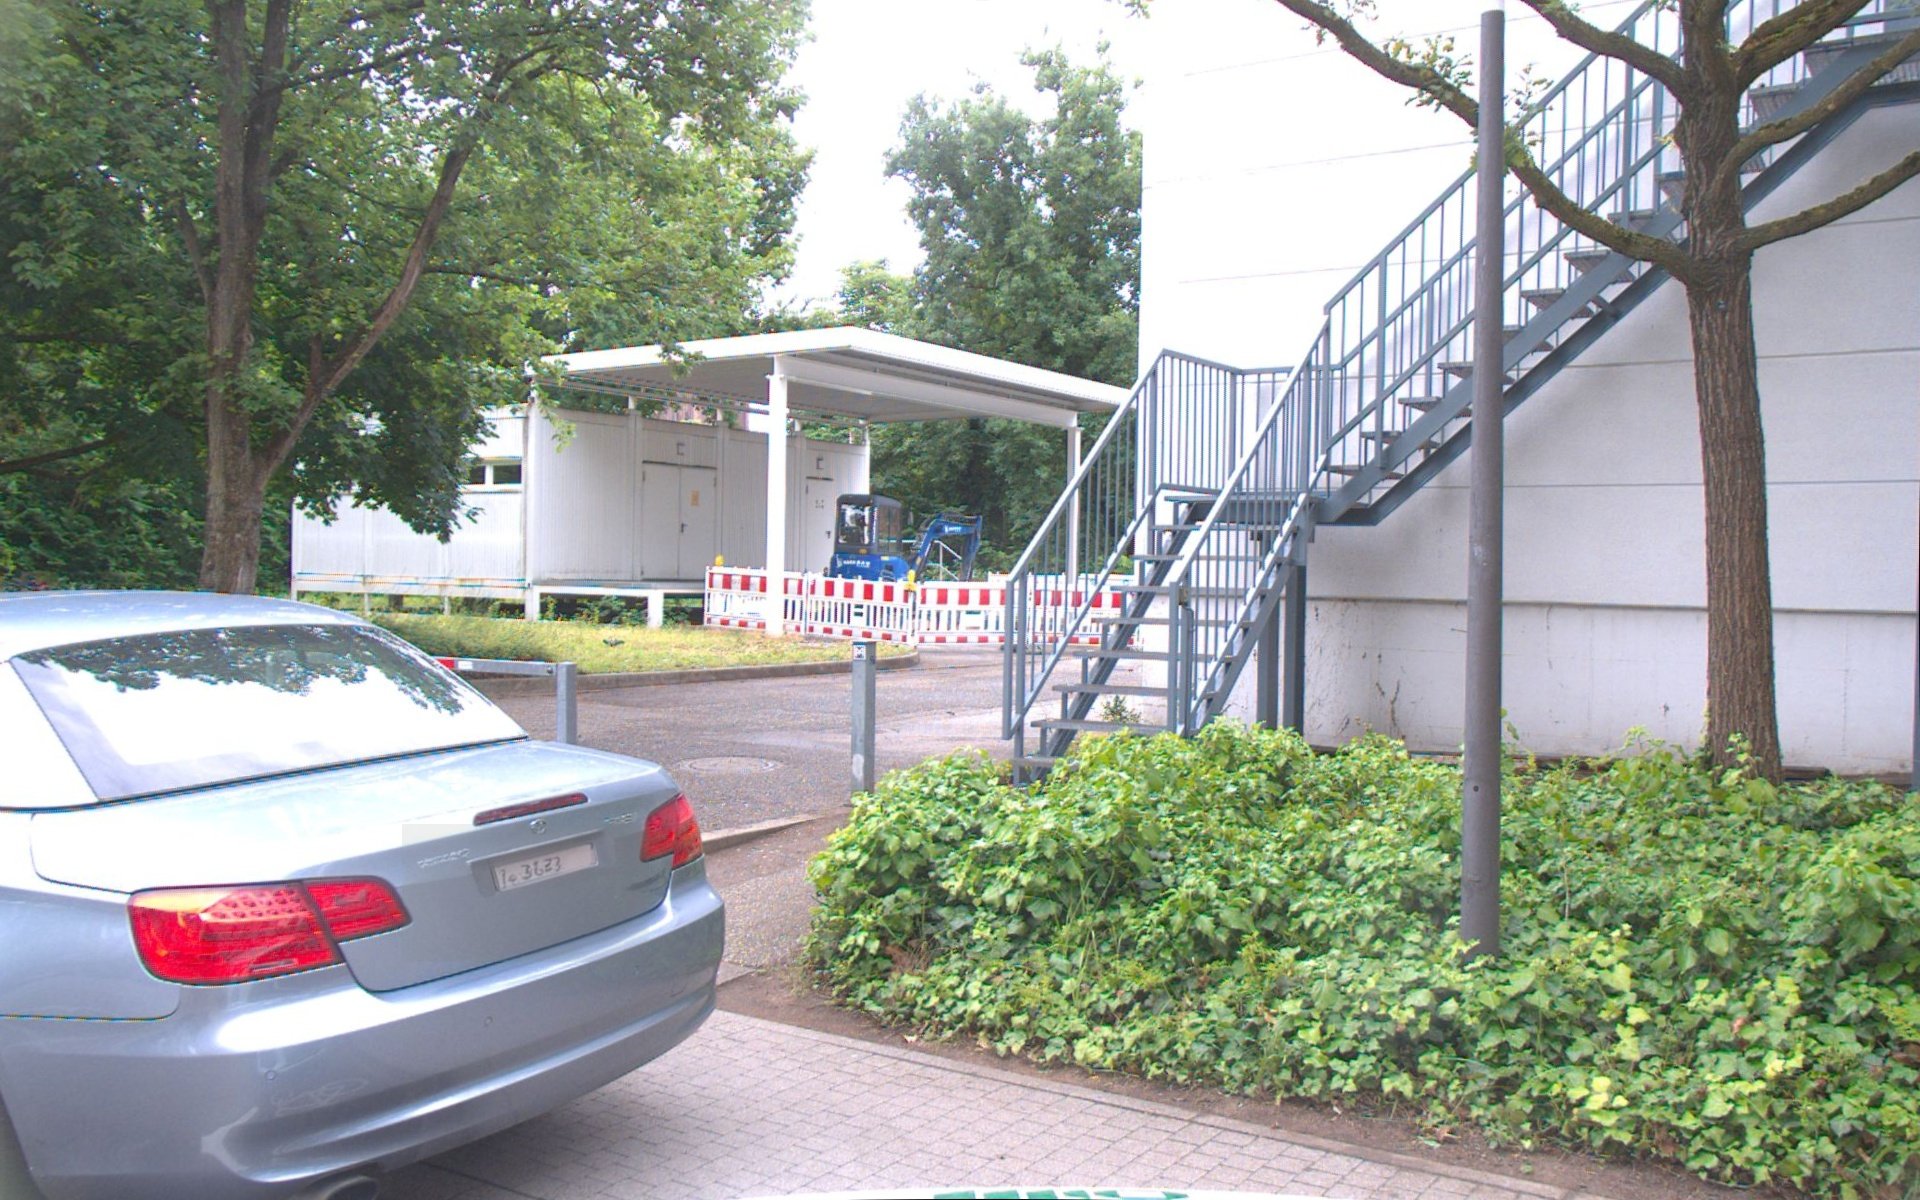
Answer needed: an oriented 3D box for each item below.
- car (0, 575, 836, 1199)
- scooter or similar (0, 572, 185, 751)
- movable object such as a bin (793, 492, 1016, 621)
[{"bbox_3d":[-2.549,0.664,4.670,4.104,1.413,1.820,1,1,31],"label":"car"},{"bbox_3d":[-6.249,0.425,11.755,1.281,1.231,0.449,0,1,-16],"label":"scooter or similar"},{"bbox_3d":[-0.930,-0.746,30.838,1.956,2.209,4.661,1,0,30],"label":"movable object such as a bin"}]
